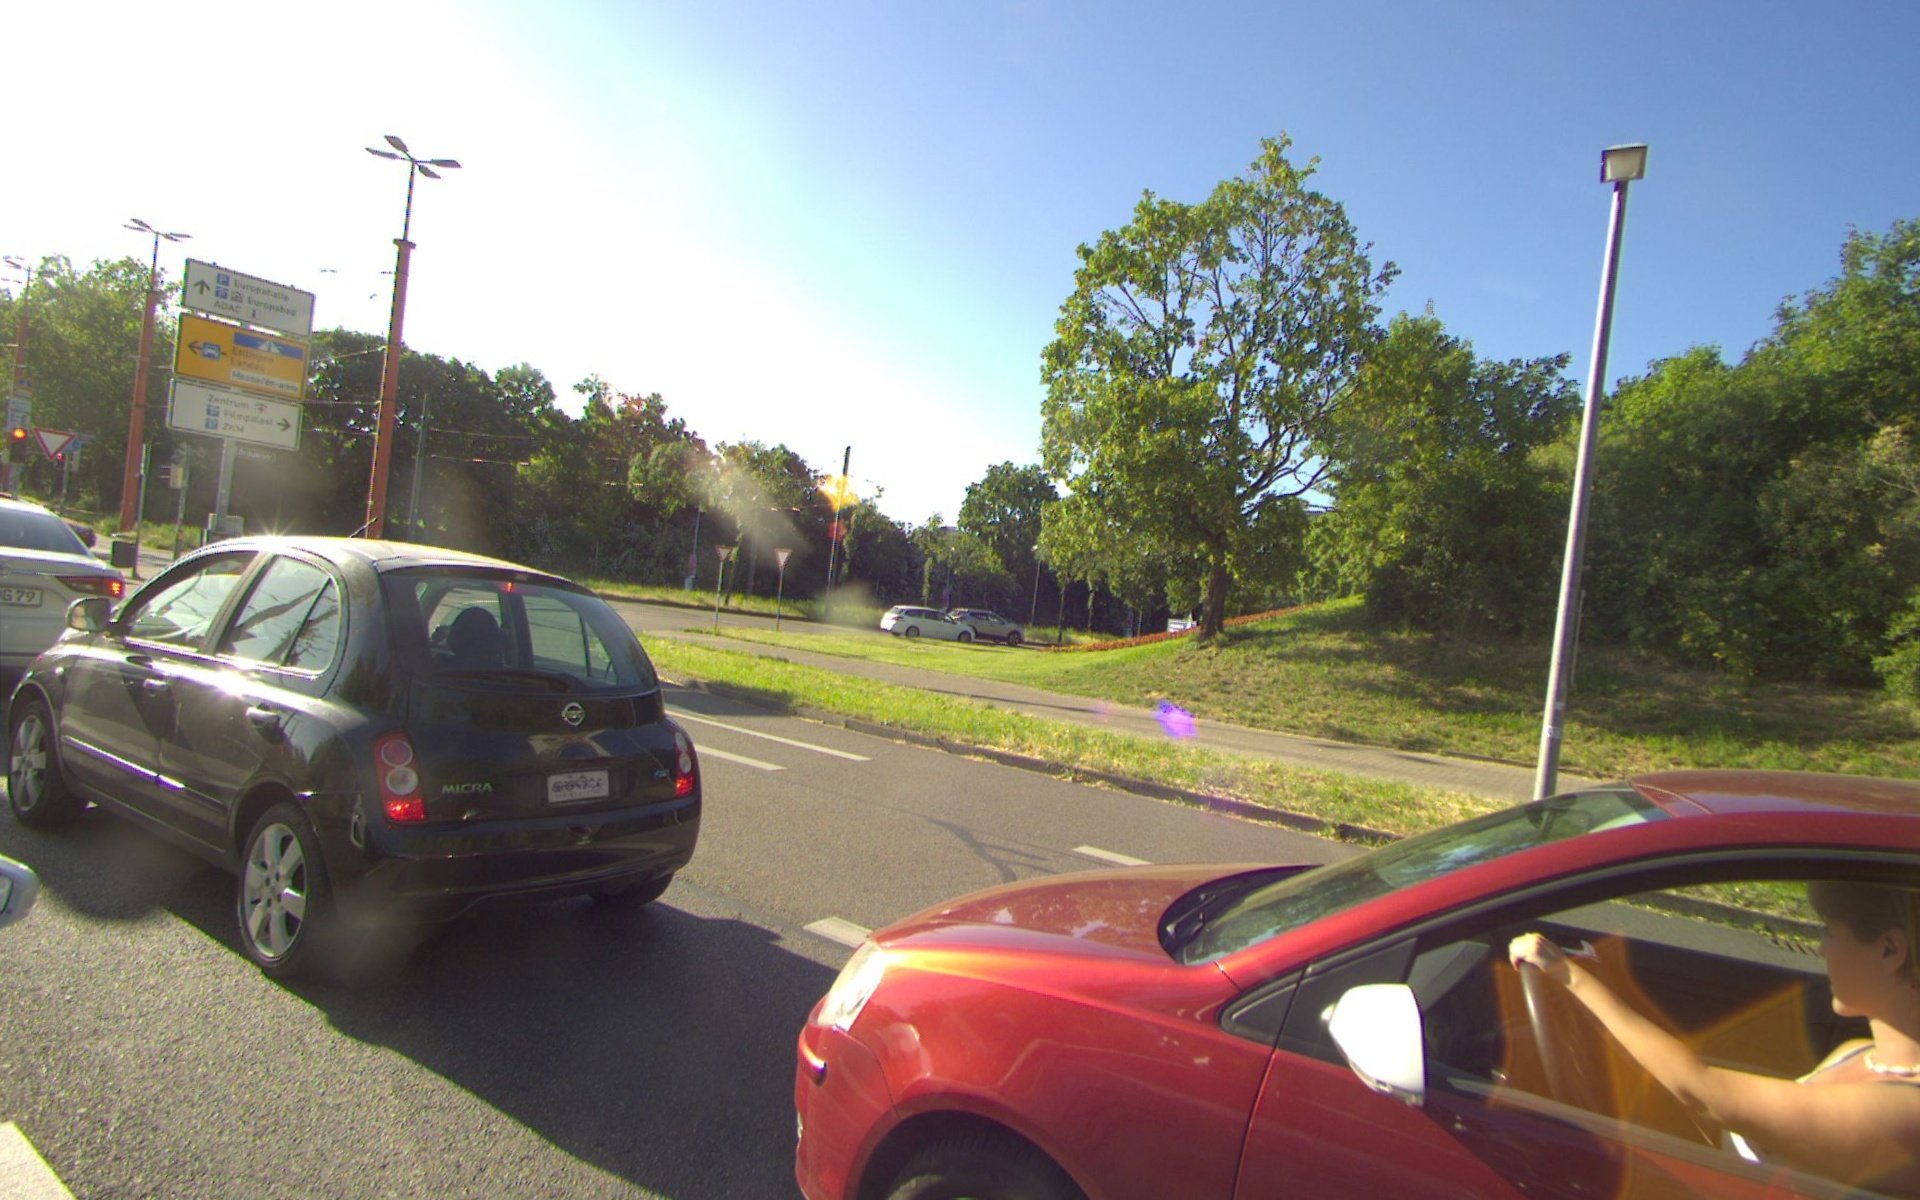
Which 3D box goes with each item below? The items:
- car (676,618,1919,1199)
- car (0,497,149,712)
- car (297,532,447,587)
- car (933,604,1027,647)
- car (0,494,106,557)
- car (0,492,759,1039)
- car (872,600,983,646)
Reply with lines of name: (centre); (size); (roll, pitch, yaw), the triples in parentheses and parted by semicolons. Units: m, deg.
car: (1.375, 0.992, 1.889); (3.634, 1.434, 1.624); (7, -1, 34)
car: (-8.343, -0.162, 7.973); (4.077, 1.472, 1.717); (7, -1, 33)
car: (-21.846, -1.491, 37.564); (4.617, 1.379, 1.758); (8, -1, -30)
car: (1.008, 1.298, 50.532); (4.317, 1.600, 1.758); (8, -1, -29)
car: (-28.057, -2.320, 29.711); (3.958, 1.512, 1.757); (8, -1, -31)
car: (-2.817, 0.466, 4.620); (3.457, 1.524, 1.558); (7, 0, 32)
car: (-1.456, 1.068, 45.966); (4.719, 1.512, 1.758); (8, -1, -30)
